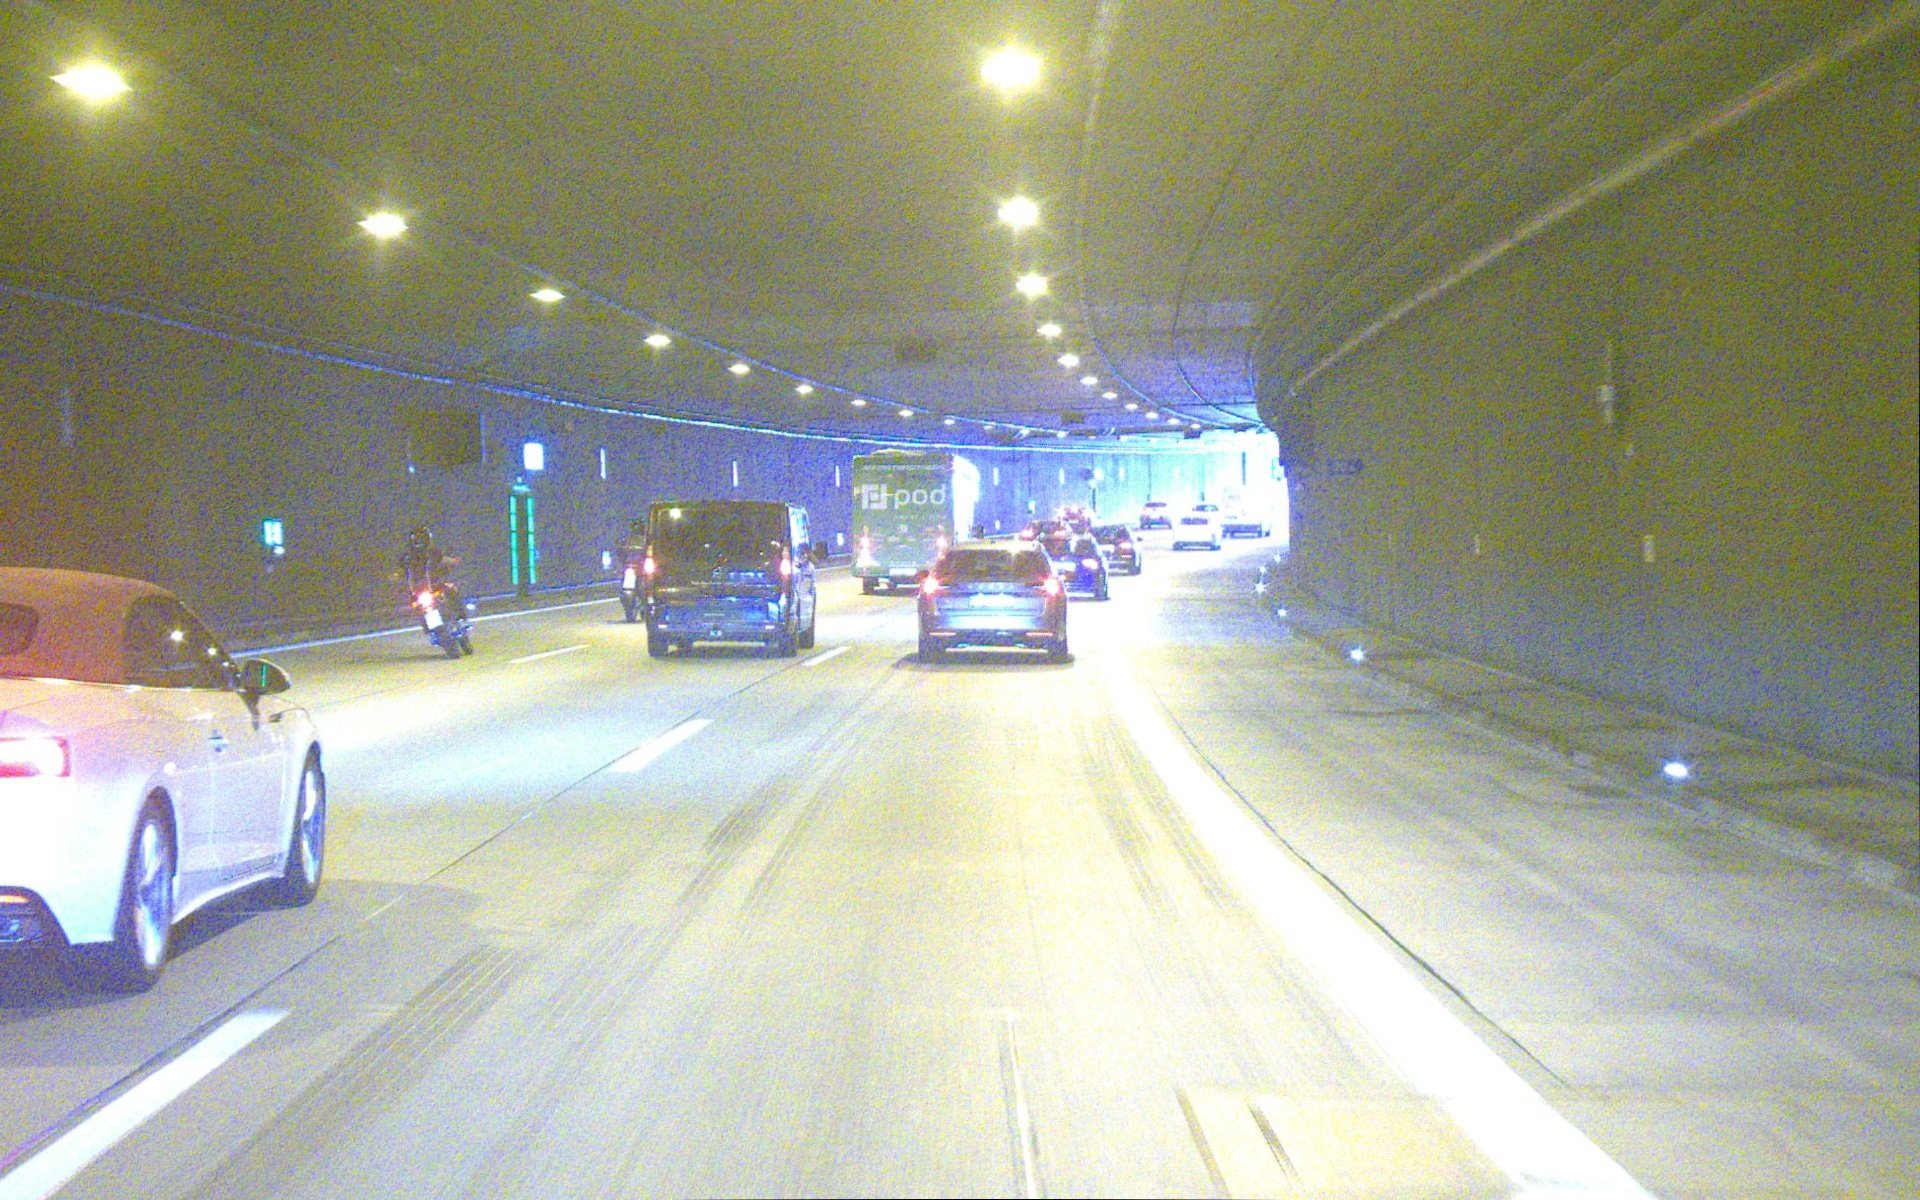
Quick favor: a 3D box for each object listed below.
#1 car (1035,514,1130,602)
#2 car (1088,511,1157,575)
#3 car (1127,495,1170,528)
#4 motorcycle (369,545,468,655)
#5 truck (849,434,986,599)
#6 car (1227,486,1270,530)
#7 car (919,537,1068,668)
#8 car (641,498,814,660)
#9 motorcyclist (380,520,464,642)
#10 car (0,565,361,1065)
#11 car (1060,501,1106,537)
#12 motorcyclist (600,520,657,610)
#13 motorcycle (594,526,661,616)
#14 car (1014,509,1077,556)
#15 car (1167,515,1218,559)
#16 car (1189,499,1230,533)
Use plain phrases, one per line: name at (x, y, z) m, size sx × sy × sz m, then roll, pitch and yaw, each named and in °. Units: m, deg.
car at (2.623, -0.914, 74.205) m, size 1.857 × 1.848 × 4.000 m, roll 0°, pitch 1°, yaw -1°
car at (4.723, -1.639, 100.115) m, size 1.950 × 1.766 × 4.000 m, roll 1°, pitch 0°, yaw 2°
car at (10.360, -4.843, 188.461) m, size 1.931 × 1.637 × 3.998 m, roll 1°, pitch 0°, yaw 10°
motorcycle at (-6.524, 0.001, 41.528) m, size 0.683 × 1.292 × 2.398 m, roll 0°, pitch 0°, yaw 3°
truck at (-1.037, -1.918, 80.521) m, size 3.039 × 3.661 × 7.393 m, roll 0°, pitch 1°, yaw -1°
car at (13.962, -4.435, 166.178) m, size 1.994 × 2.007 × 3.999 m, roll 1°, pitch 0°, yaw 6°
car at (0.449, -0.005, 42.297) m, size 1.742 × 1.459 × 3.871 m, roll 0°, pitch 2°, yaw 2°
car at (-2.906, -0.309, 43.718) m, size 1.909 × 1.937 × 3.871 m, roll 0°, pitch 2°, yaw 0°
motorcyclist at (-6.497, -0.222, 41.571) m, size 0.777 × 1.447 × 1.069 m, roll 1°, pitch -1°, yaw 3°
car at (-3.482, 0.607, 12.647) m, size 1.702 × 1.414 × 5.060 m, roll 0°, pitch 1°, yaw 0°
car at (5.791, -3.801, 161.648) m, size 1.931 × 1.637 × 3.999 m, roll 0°, pitch 1°, yaw 5°
motorcyclist at (-5.501, -0.574, 57.103) m, size 0.806 × 1.443 × 1.865 m, roll 0°, pitch -1°, yaw -2°
motorcycle at (-5.509, -0.459, 57.124) m, size 0.926 × 1.429 × 2.964 m, roll 1°, pitch 0°, yaw -3°
car at (3.096, -2.437, 124.252) m, size 1.994 × 1.626 × 3.999 m, roll 1°, pitch 0°, yaw 5°
car at (9.445, -2.543, 139.214) m, size 1.931 × 1.637 × 3.999 m, roll 1°, pitch 0°, yaw 6°
car at (13.008, -4.350, 178.947) m, size 1.994 × 1.626 × 3.999 m, roll 1°, pitch 0°, yaw 6°
